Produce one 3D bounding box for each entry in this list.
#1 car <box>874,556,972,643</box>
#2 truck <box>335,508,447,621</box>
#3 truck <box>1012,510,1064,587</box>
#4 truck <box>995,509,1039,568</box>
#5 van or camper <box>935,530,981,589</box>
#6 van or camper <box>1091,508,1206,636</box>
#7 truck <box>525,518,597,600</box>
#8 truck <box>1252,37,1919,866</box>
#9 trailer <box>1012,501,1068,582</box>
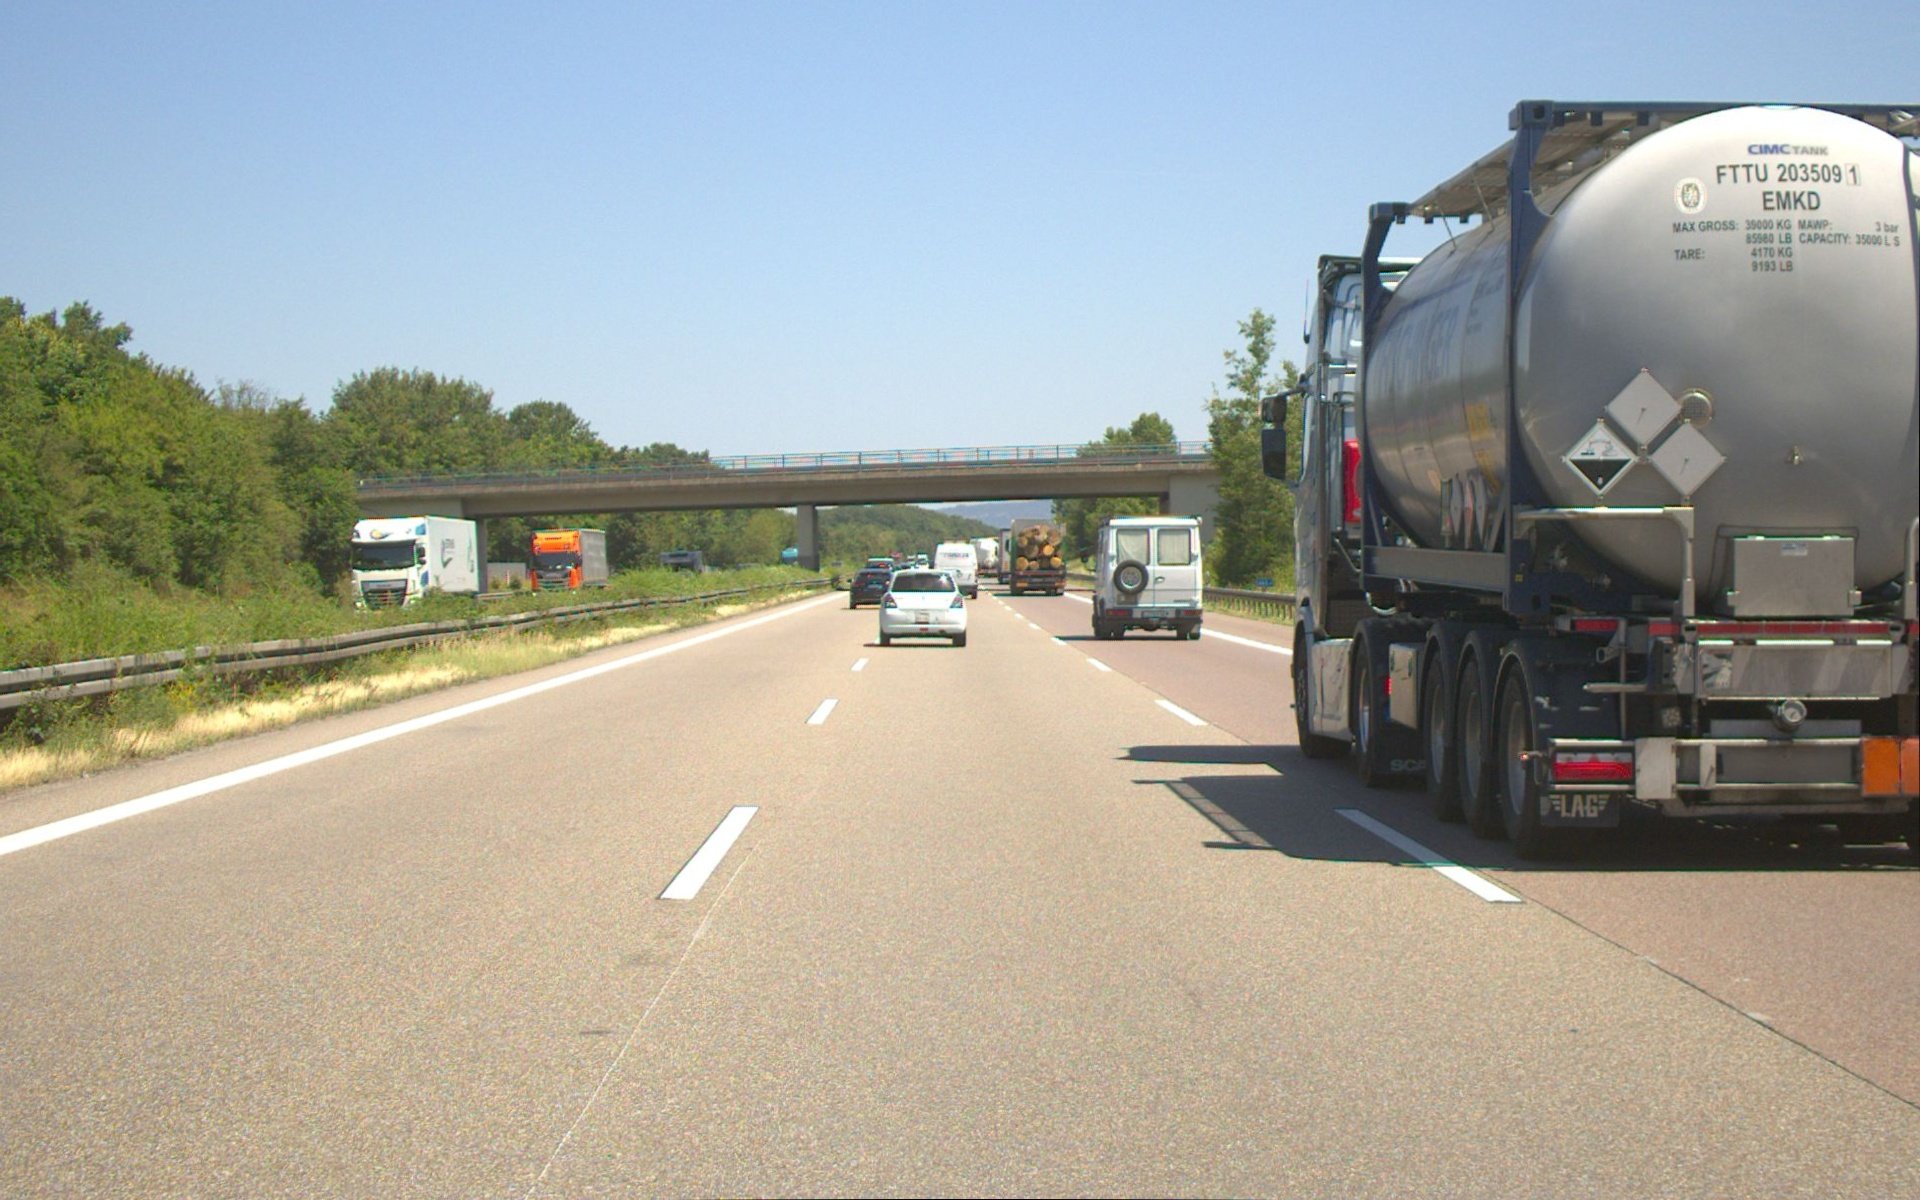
[{"bbox_3d":[-0.745,-0.037,68.122,1.857,1.646,4.000,1,1,-1],"label":"car"},{"bbox_3d":[-21.419,-1.344,129.691,3.194,4.134,5.944,1,0,0],"label":"truck"},{"bbox_3d":[4.095,-2.711,181.429,2.670,3.981,6.636,0,1,1],"label":"truck"},{"bbox_3d":[4.244,-4.486,254.365,3.079,4.194,16.843,1,1,1],"label":"truck"},{"bbox_3d":[-0.078,-1.849,157.132,2.058,2.613,5.985,0,1,1],"label":"van or camper"},{"bbox_3d":[4.095,-0.631,75.631,2.113,2.694,6.368,0,1,-1],"label":"van or camper"},{"bbox_3d":[-21.211,-2.169,182.853,3.137,4.217,5.176,1,0,0],"label":"truck"},{"bbox_3d":[4.060,-0.785,23.524,2.798,4.032,13.355,1,1,-1],"label":"truck"},{"bbox_3d":[4.000,-2.914,174.221,2.653,3.945,13.636,0,1,1],"label":"trailer"}]
